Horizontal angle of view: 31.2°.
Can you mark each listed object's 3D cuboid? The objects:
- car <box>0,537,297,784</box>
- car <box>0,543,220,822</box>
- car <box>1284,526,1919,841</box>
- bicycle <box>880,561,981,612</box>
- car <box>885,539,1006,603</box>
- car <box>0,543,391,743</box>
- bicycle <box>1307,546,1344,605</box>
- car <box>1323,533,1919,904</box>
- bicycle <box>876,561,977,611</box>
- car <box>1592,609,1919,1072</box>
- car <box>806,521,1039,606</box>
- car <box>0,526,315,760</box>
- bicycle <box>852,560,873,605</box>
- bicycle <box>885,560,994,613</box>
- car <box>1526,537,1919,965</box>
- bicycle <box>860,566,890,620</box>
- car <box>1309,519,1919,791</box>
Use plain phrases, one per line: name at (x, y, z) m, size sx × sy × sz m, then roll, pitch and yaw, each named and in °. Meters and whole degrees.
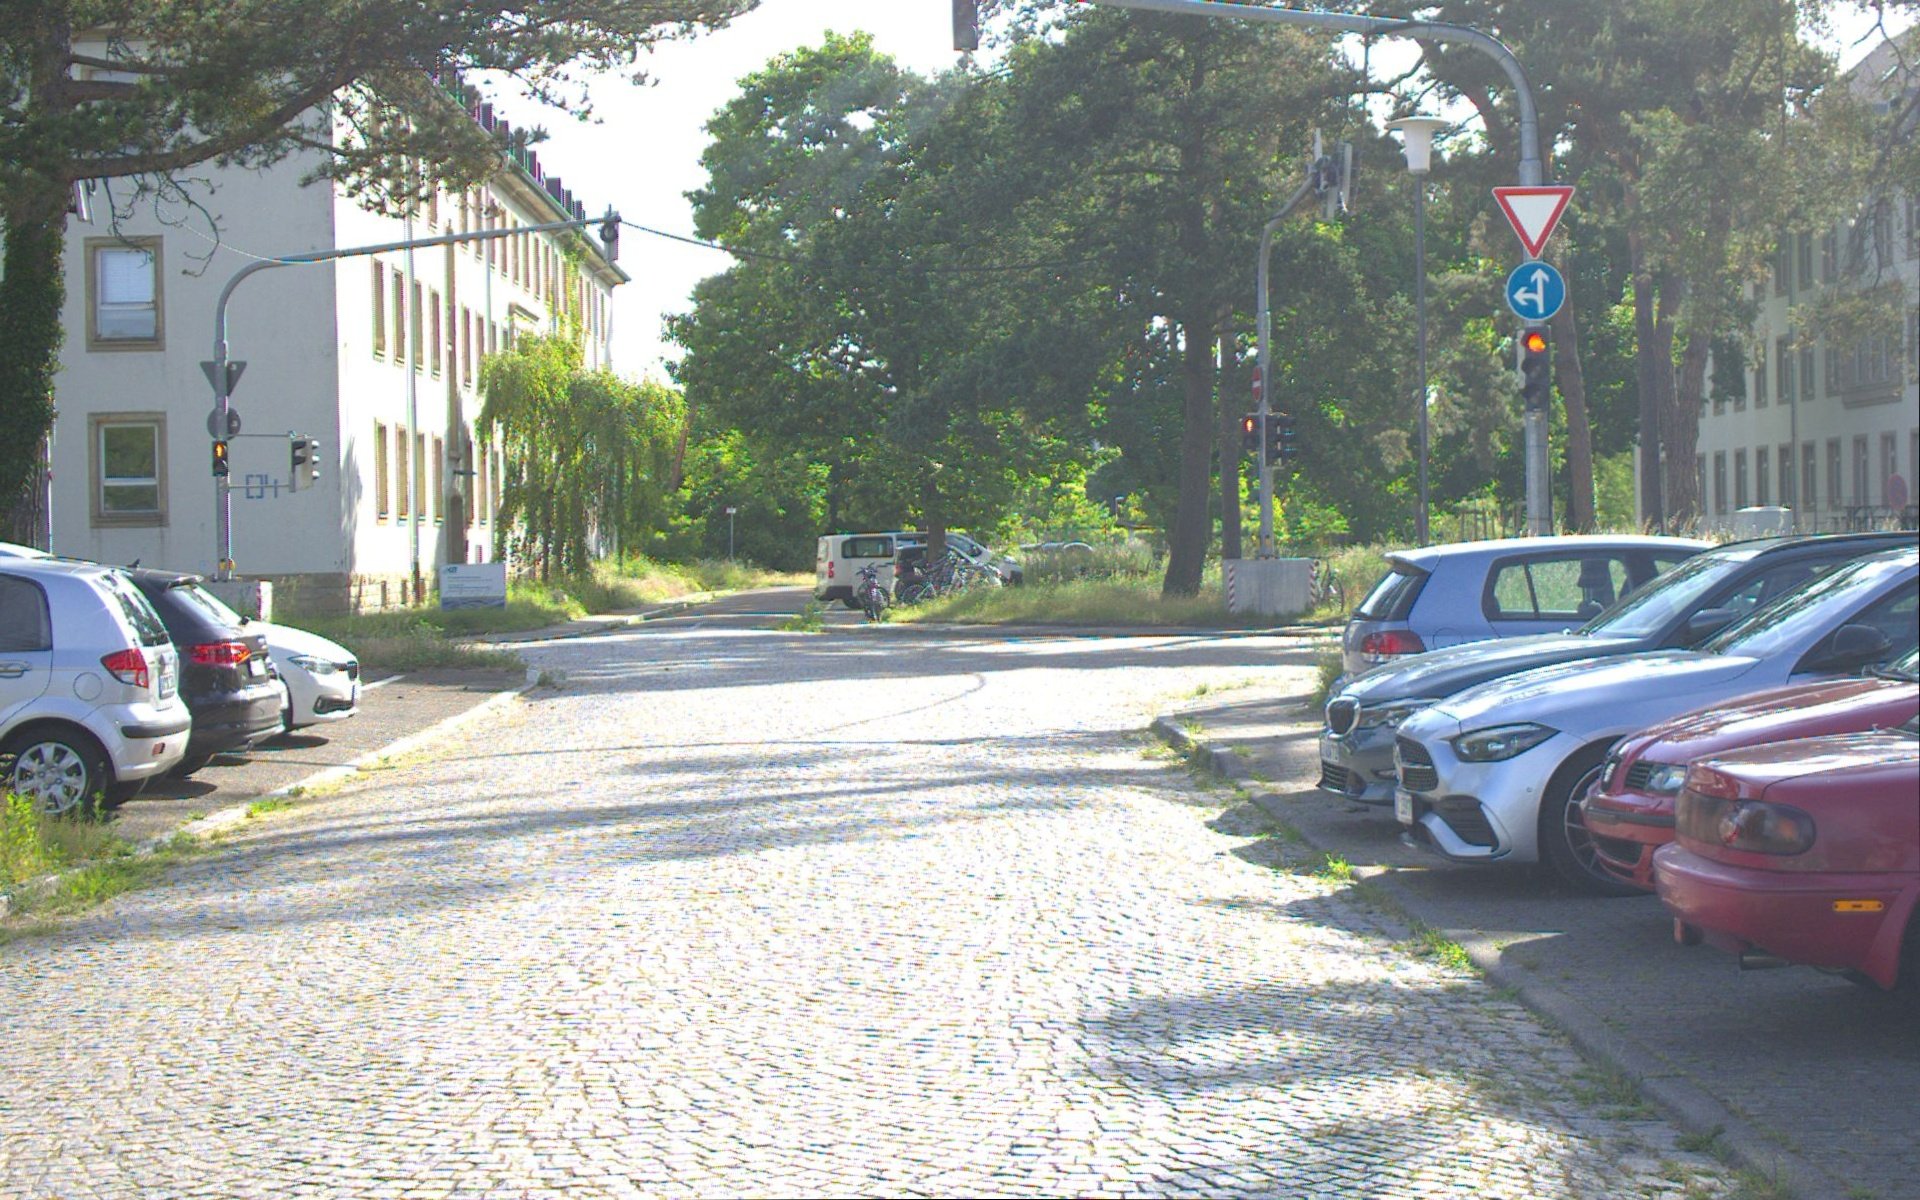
car at (-6.410, 0.339, 22.144) m, size 3.986 × 1.475 × 1.803 m, roll 1°, pitch 1°, yaw -4°
car at (-6.233, 0.413, 19.512) m, size 3.745 × 1.482 × 1.646 m, roll 1°, pitch 1°, yaw -4°
car at (4.062, 0.374, 17.783) m, size 4.559 × 1.410 × 1.637 m, roll -2°, pitch 1°, yaw 0°
bicycle at (-0.606, -0.286, 71.104) m, size 2.004 × 1.007 × 0.632 m, roll 1°, pitch 0°, yaw -8°
car at (-0.359, -0.708, 83.866) m, size 2.781 × 1.462 × 1.671 m, roll 1°, pitch 0°, yaw -5°
car at (-6.841, 0.306, 27.492) m, size 4.333 × 1.463 × 1.831 m, roll 1°, pitch 1°, yaw -4°
bicycle at (6.088, -0.409, 57.353) m, size 0.300 × 0.957 × 1.586 m, roll 1°, pitch 0°, yaw -5°
car at (3.927, 0.440, 15.067) m, size 4.432 × 1.410 × 1.781 m, roll -2°, pitch 1°, yaw 0°
bicycle at (-0.698, -0.293, 71.986) m, size 2.027 × 1.007 × 0.627 m, roll 1°, pitch 0°, yaw -8°
car at (3.982, 0.631, 10.586) m, size 3.707 × 1.219 × 1.746 m, roll -2°, pitch 1°, yaw 0°
car at (-0.957, -0.917, 87.454) m, size 5.520 × 2.007 × 2.001 m, roll 1°, pitch 0°, yaw -19°
car at (-6.899, 0.265, 25.100) m, size 4.079 × 1.588 × 1.886 m, roll 1°, pitch 1°, yaw -4°
bicycle at (-2.240, -0.410, 79.030) m, size 0.417 × 1.007 × 1.483 m, roll 1°, pitch 0°, yaw 0°
bicycle at (-0.412, -0.271, 69.435) m, size 2.108 × 1.007 × 0.621 m, roll 1°, pitch 0°, yaw -8°
car at (4.365, 0.468, 12.986) m, size 4.127 × 1.444 × 1.637 m, roll -2°, pitch 1°, yaw 0°
bicycle at (-1.635, -0.139, 65.761) m, size 0.467 × 1.007 × 1.586 m, roll 1°, pitch 0°, yaw -5°
car at (4.139, 0.297, 20.563) m, size 3.882 × 1.410 × 1.637 m, roll -2°, pitch 1°, yaw 0°
